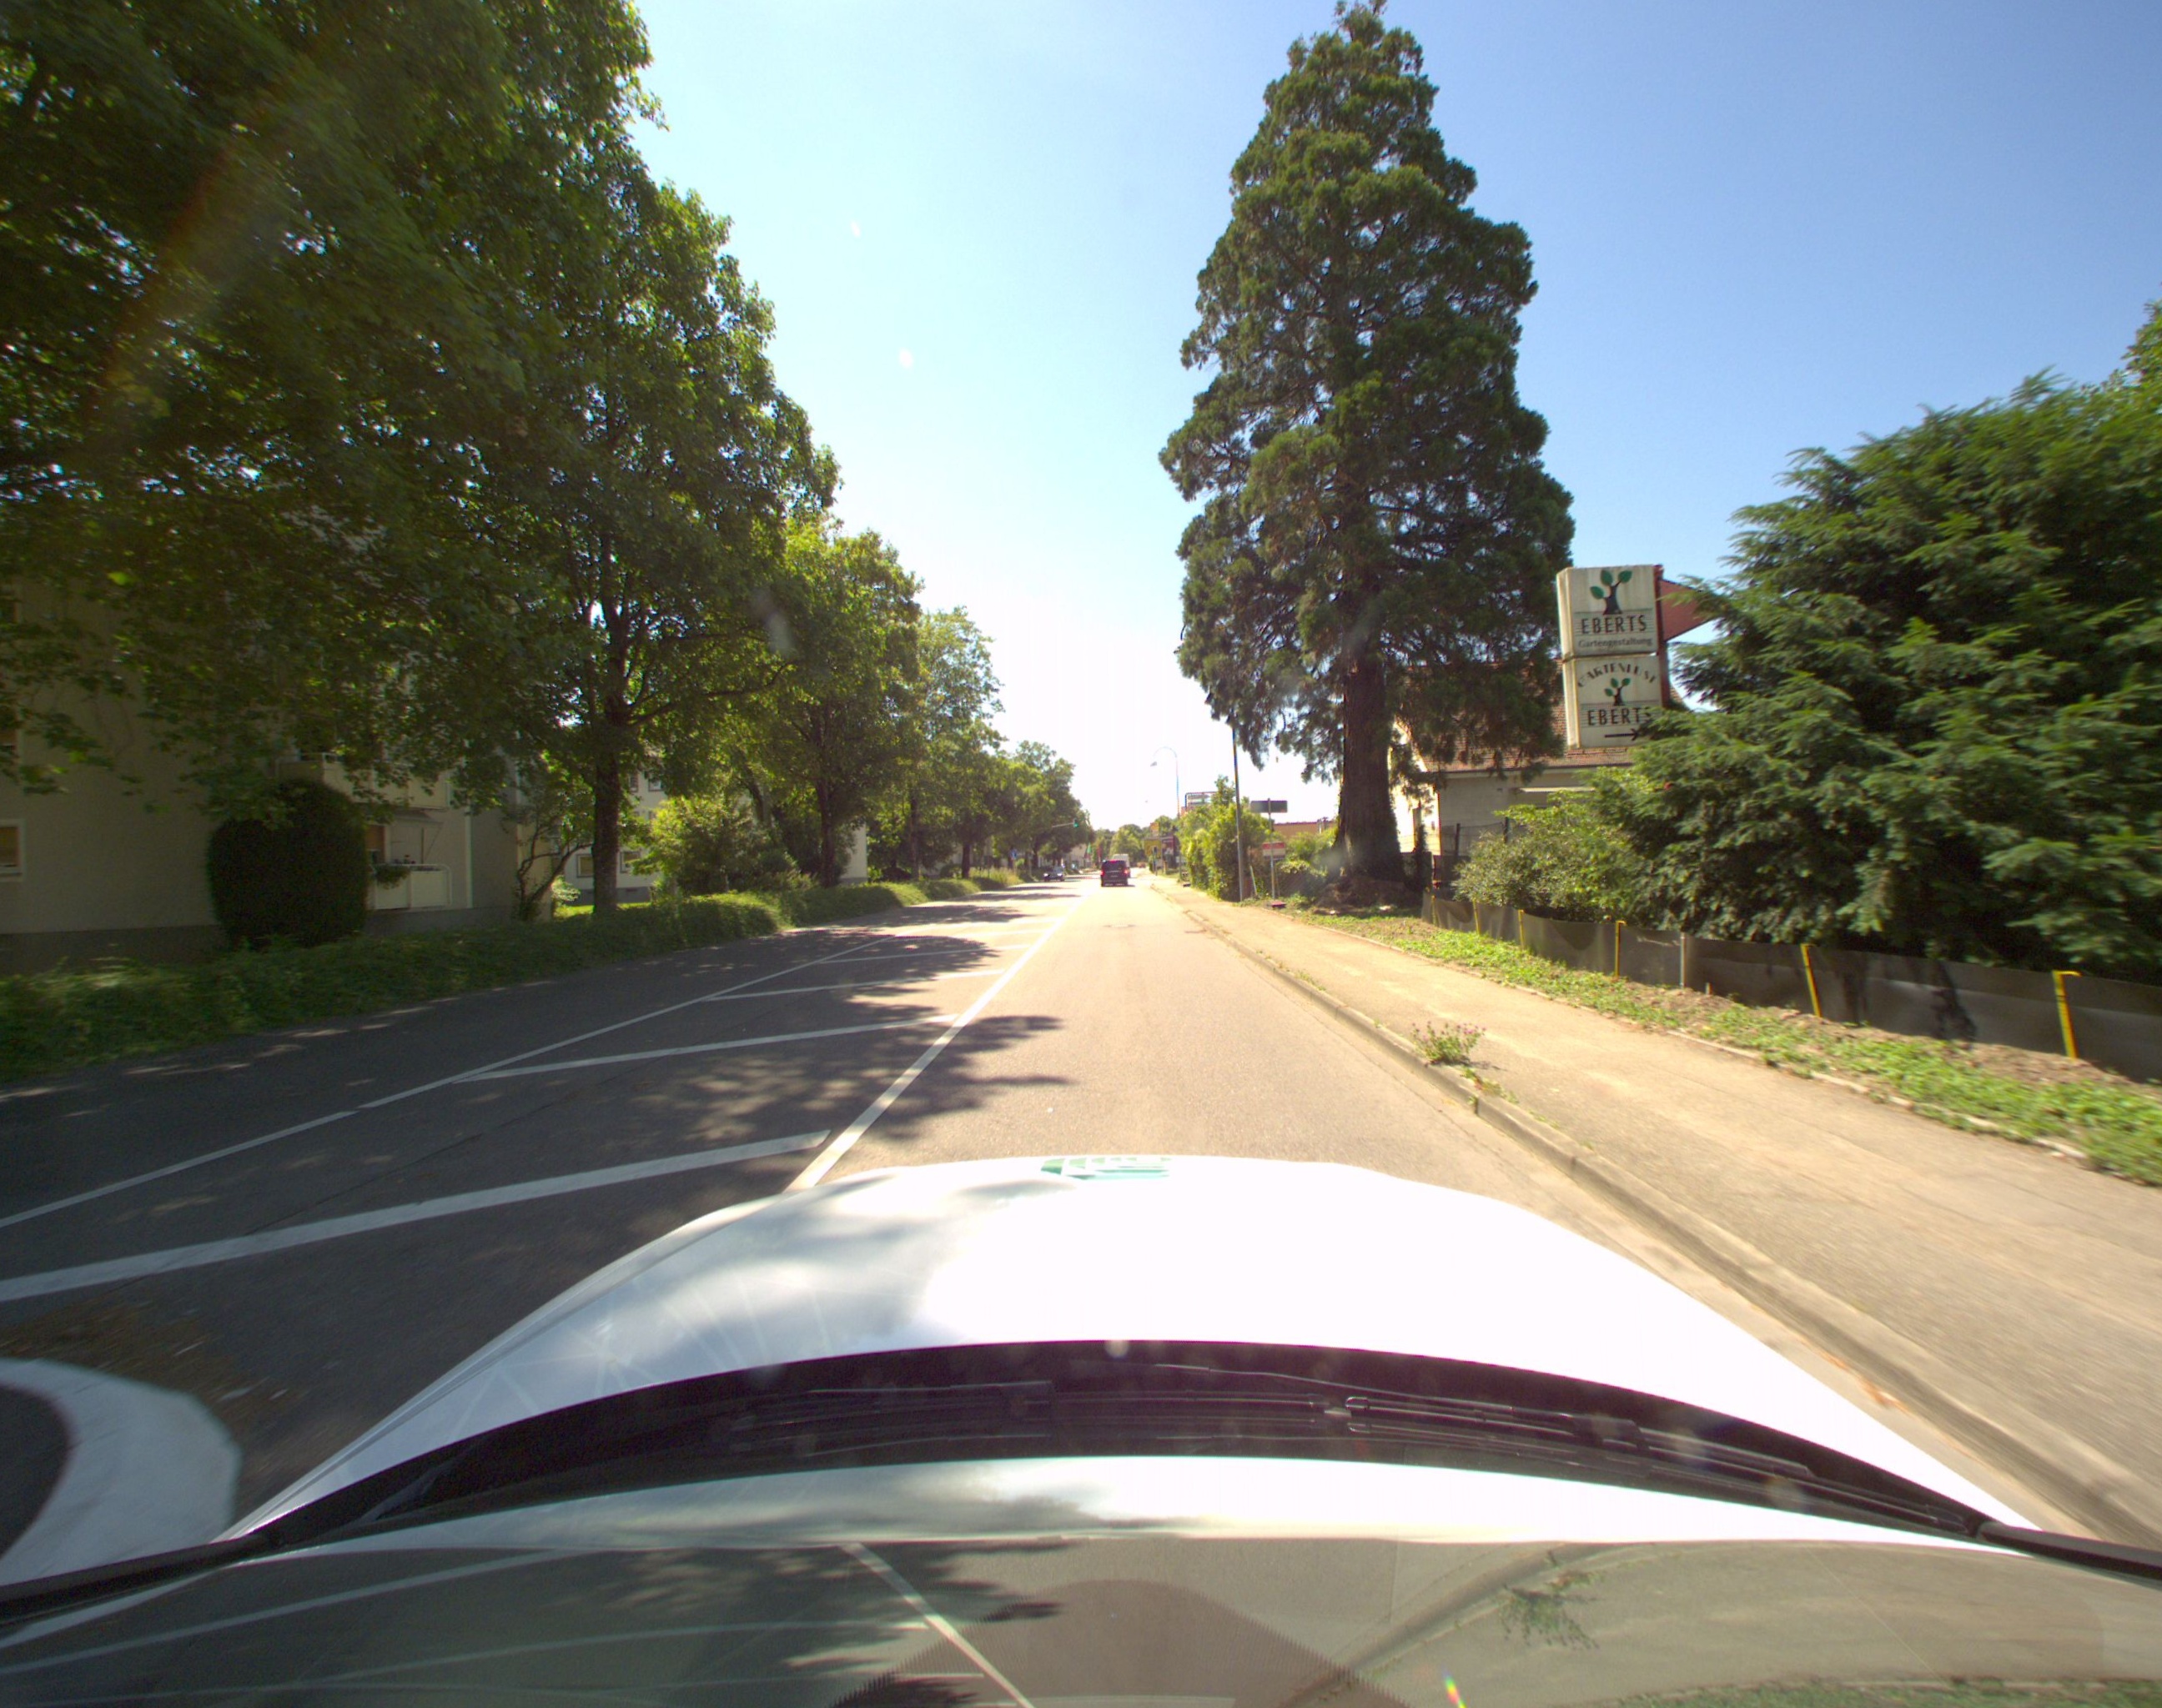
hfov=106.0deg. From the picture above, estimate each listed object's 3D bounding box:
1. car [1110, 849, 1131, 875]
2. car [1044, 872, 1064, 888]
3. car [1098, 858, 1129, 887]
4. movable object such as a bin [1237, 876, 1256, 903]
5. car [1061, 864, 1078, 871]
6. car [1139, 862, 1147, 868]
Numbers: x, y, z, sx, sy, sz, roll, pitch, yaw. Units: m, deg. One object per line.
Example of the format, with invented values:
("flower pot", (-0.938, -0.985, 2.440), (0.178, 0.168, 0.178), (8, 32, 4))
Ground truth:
("car", (4.393, 0.865, 89.595), (2.111, 2.678, 5.667), (-1, 0, 4))
("car", (-2.570, 2.496, 79.135), (1.716, 1.427, 4.148), (-1, -1, 1))
("car", (2.230, 1.280, 56.433), (1.987, 1.893, 4.000), (-1, 0, 0))
("movable object such as a bin", (5.842, 1.261, 28.796), (0.466, 0.928, 0.527), (-1, -2, 36))
("car", (-2.888, 3.459, 208.275), (3.959, 1.662, 2.007), (-1, 0, 13))
("car", (17.093, 3.106, 225.610), (1.852, 1.643, 3.998), (-1, 0, -1))
